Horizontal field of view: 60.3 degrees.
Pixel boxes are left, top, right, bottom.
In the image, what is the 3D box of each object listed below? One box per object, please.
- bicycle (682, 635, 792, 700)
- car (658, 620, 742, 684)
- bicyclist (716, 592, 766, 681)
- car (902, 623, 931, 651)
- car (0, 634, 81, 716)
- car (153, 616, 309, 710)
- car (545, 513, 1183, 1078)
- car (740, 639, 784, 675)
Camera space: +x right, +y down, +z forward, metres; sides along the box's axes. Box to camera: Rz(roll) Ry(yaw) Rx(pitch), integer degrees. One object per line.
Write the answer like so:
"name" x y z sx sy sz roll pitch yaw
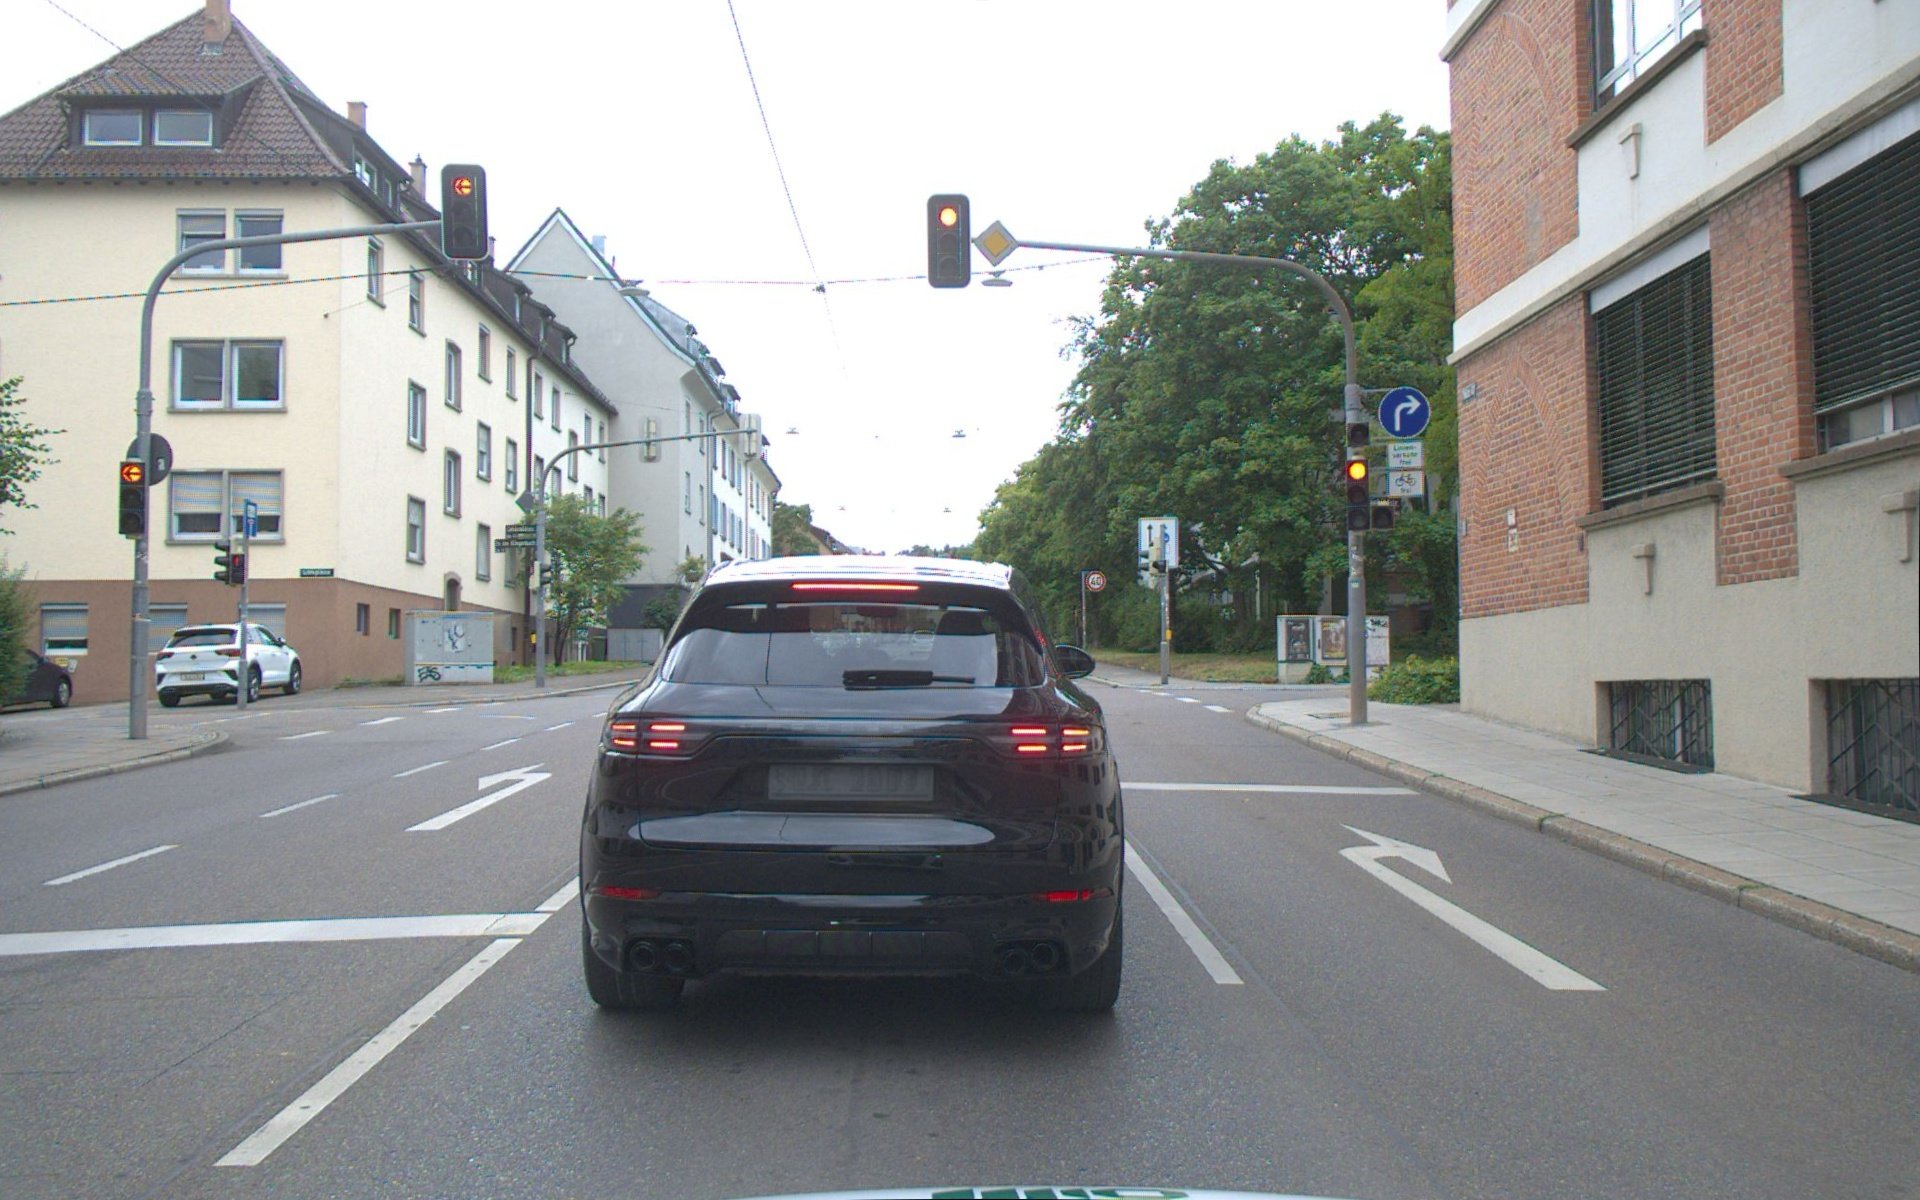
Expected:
"bicycle" -3.934 1.186 29.132 1.872 1.100 0.701 1 0 -12
"car" -7.085 1.399 45.398 1.630 1.545 3.739 -4 0 0
"bicyclist" -3.867 0.633 29.149 0.795 1.546 0.704 1 -1 -12
"car" -2.565 2.178 97.462 1.654 1.579 3.887 1 0 -2
"car" -19.737 1.552 33.496 1.636 1.573 4.100 -3 0 -1
"car" -14.757 1.229 33.710 1.638 1.691 3.995 -3 0 -5
"car" -0.321 0.618 7.142 1.953 1.726 3.999 1 0 -1
"car" -8.280 2.358 69.373 1.637 1.386 3.997 0 0 -4
